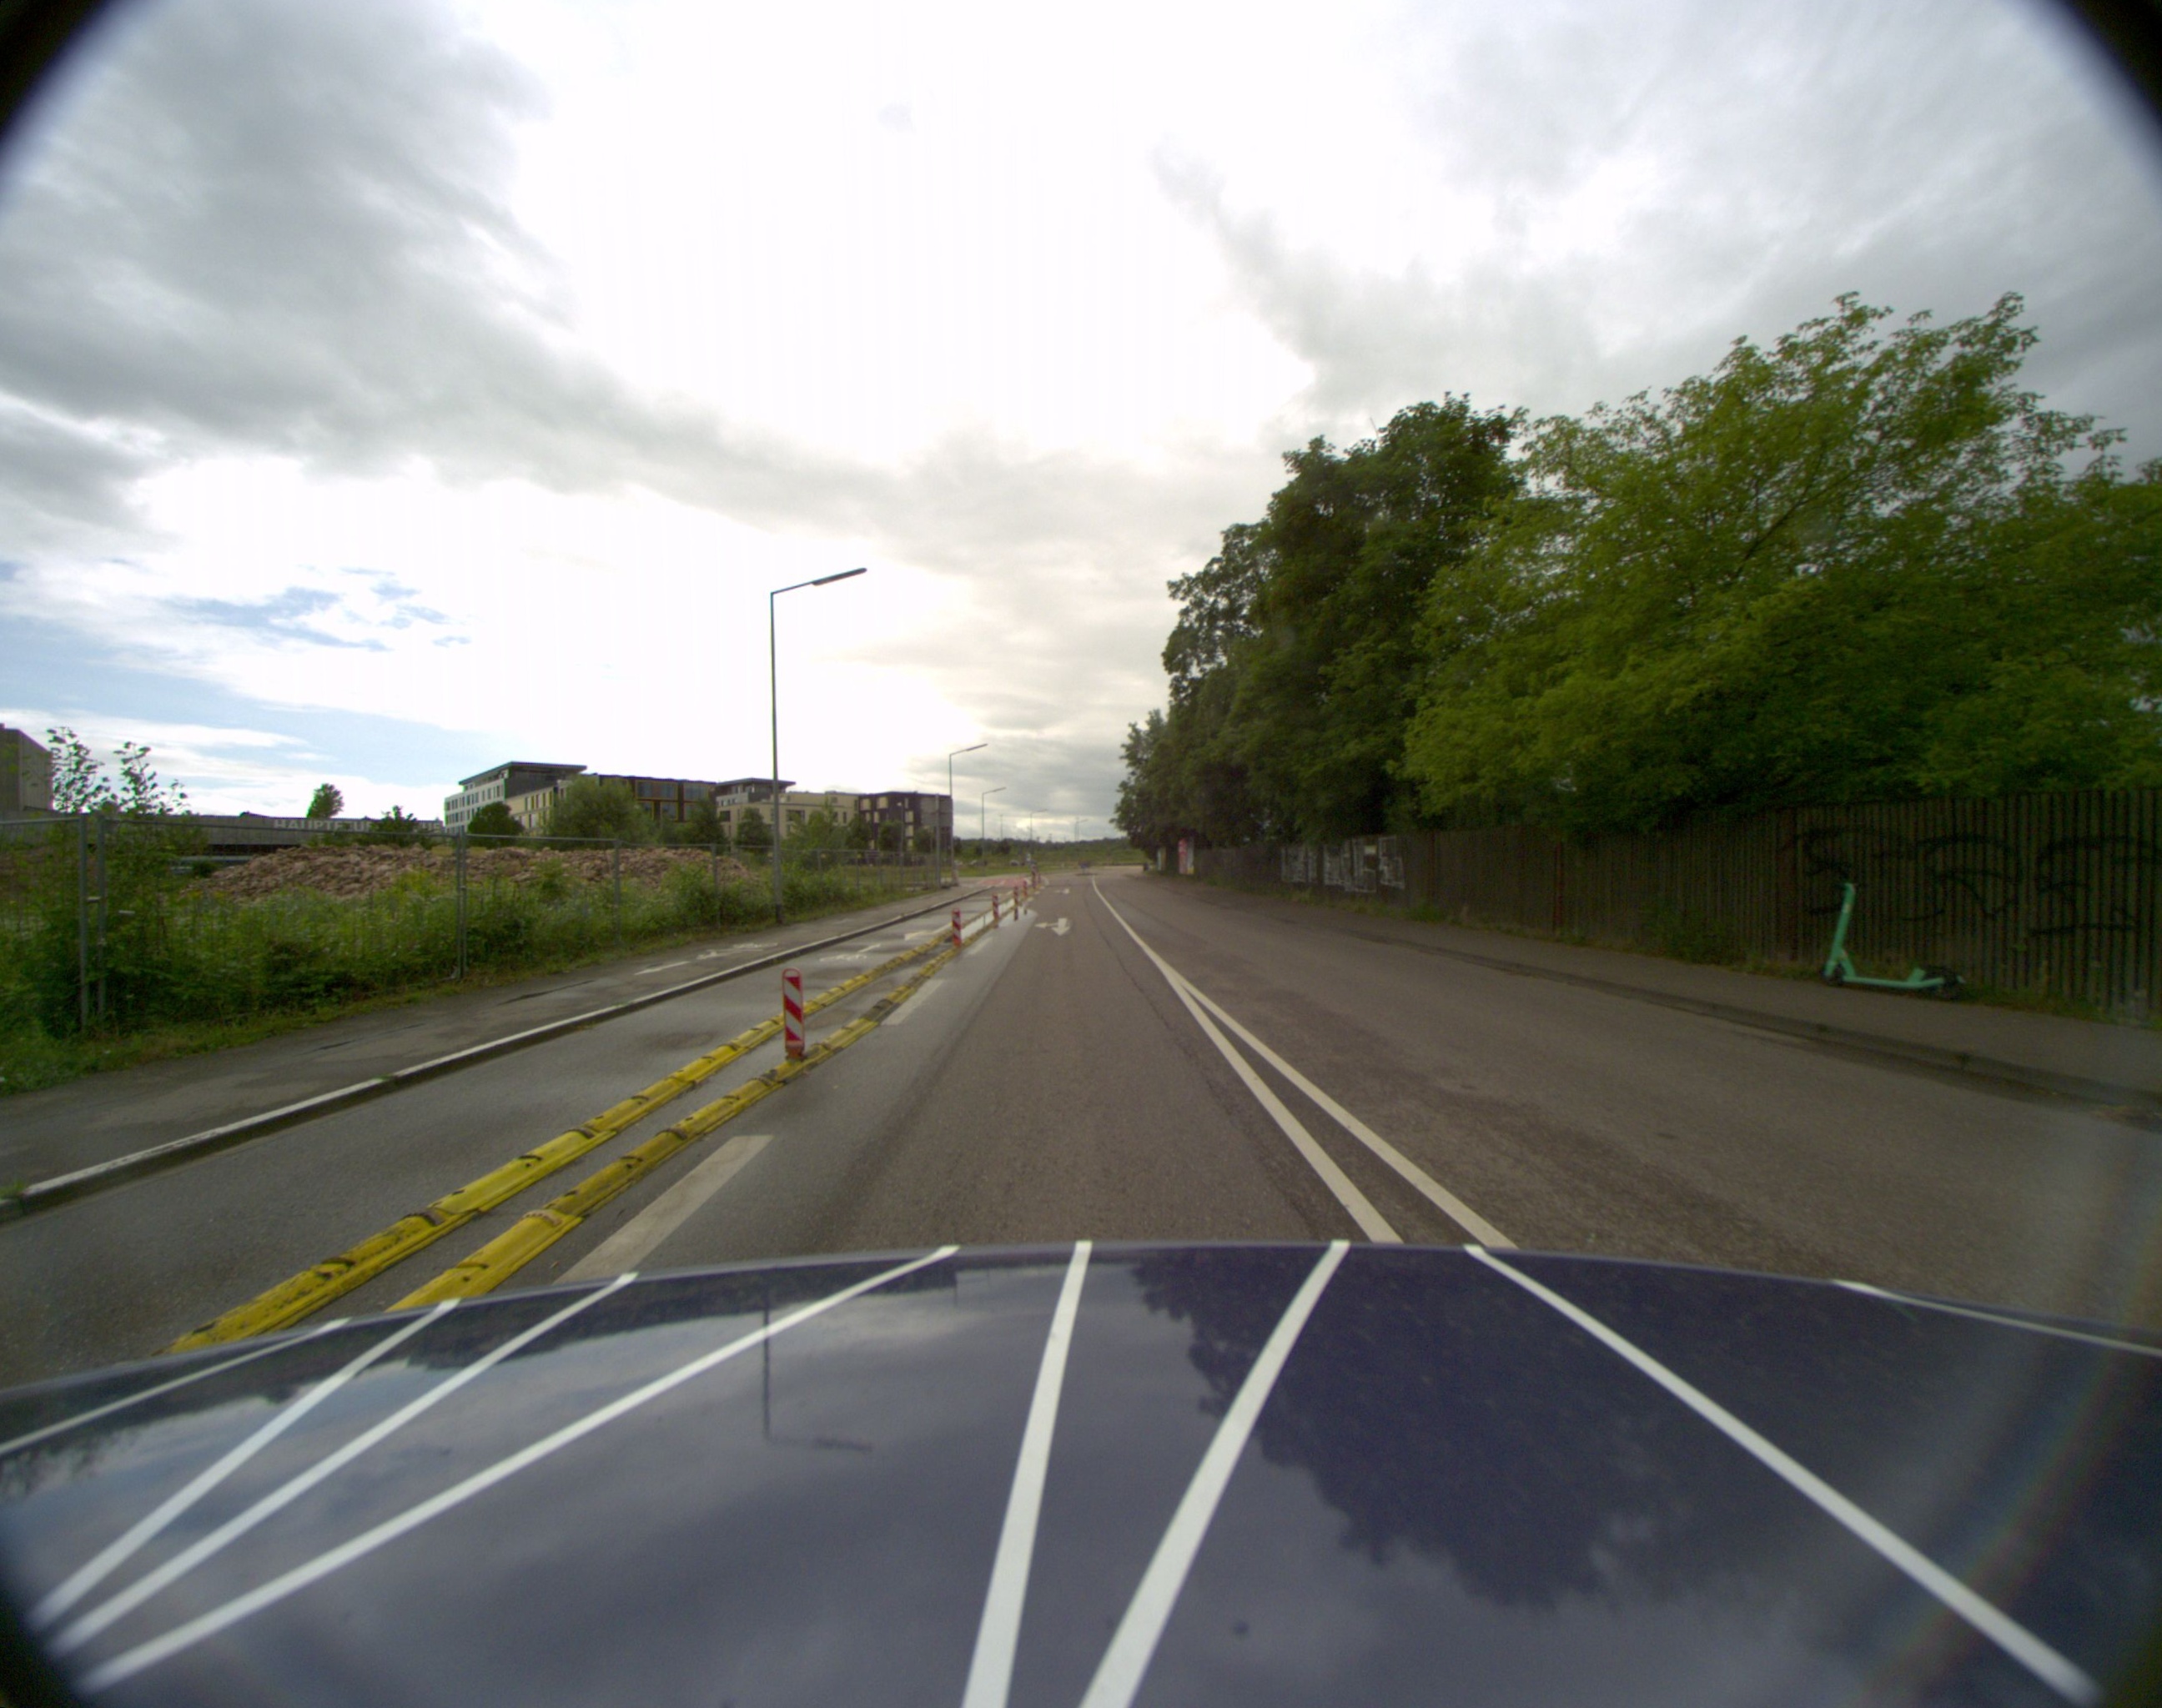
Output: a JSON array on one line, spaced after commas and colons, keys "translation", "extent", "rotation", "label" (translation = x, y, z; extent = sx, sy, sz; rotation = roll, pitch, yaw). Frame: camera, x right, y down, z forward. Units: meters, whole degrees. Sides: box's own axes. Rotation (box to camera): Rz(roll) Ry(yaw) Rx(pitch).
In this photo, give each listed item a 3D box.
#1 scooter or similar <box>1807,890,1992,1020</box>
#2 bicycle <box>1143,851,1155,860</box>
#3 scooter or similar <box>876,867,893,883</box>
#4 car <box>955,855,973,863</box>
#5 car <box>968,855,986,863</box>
[{"translation": [8.331, 0.983, 7.807], "extent": [0.424, 1.164, 1.303], "rotation": [-1, 0, -6], "label": "scooter or similar"}, {"translation": [7.650, 0.186, 85.477], "extent": [0.583, 0.992, 1.773], "rotation": [-3, 0, 27], "label": "bicycle"}, {"translation": [-14.273, 1.505, 55.146], "extent": [1.323, 1.178, 0.447], "rotation": [-1, 0, 40], "label": "scooter or similar"}, {"translation": [-28.783, 1.296, 186.346], "extent": [1.994, 2.002, 4.009], "rotation": [0, 0, 41], "label": "car"}, {"translation": [-24.790, 1.227, 180.840], "extent": [1.994, 2.002, 4.009], "rotation": [0, 0, 41], "label": "car"}]
